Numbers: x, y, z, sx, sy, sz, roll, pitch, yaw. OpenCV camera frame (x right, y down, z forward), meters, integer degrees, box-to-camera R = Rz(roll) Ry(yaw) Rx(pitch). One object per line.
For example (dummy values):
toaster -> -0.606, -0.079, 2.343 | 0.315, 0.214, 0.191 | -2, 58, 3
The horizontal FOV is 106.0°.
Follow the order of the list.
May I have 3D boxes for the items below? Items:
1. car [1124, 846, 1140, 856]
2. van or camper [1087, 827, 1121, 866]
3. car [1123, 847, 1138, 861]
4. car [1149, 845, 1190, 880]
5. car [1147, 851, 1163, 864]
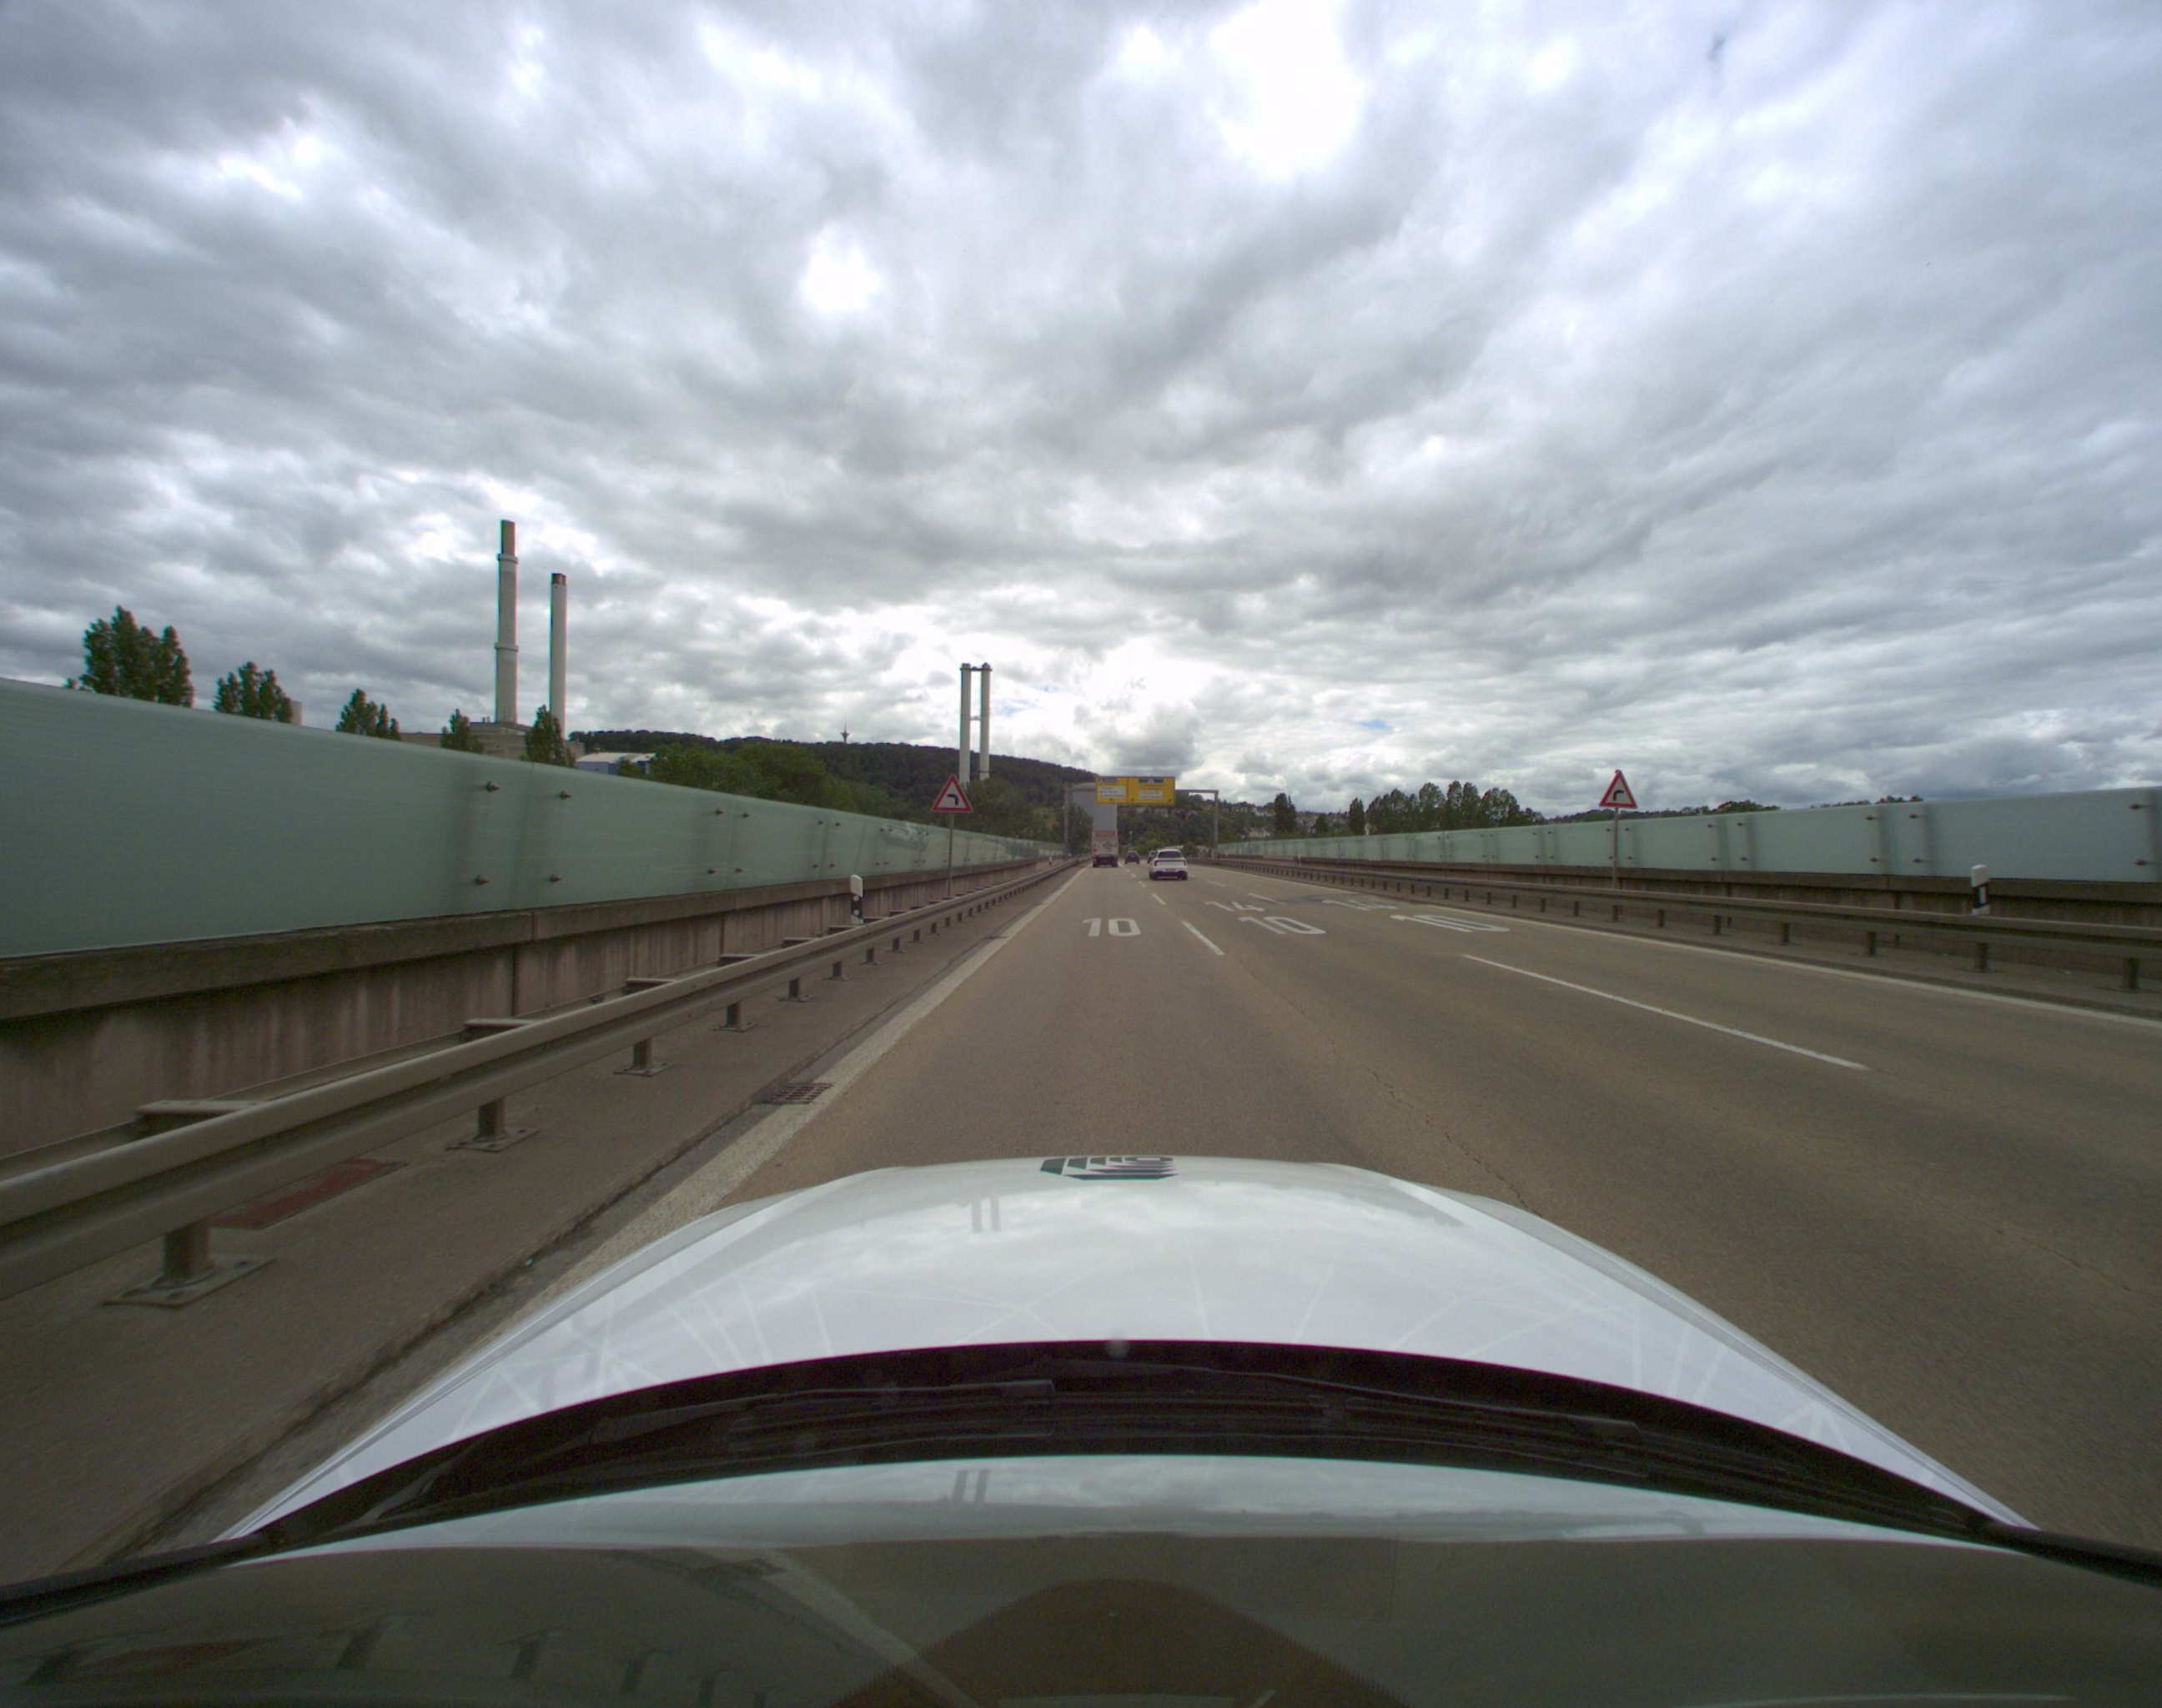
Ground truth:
car -> 10.233, -0.562, 163.760 | 2.457, 1.979, 5.176 | -1, 0, 11
van or camper -> 2.393, -0.707, 80.421 | 3.109, 3.579, 8.556 | -1, 0, 3
car -> 6.441, 0.032, 105.910 | 1.916, 1.785, 4.115 | -1, 0, 2
car -> 4.781, 0.437, 44.319 | 1.916, 1.785, 4.115 | -1, 0, 2
car -> 10.162, 0.455, 111.890 | 1.916, 1.785, 4.115 | -1, 0, 2
